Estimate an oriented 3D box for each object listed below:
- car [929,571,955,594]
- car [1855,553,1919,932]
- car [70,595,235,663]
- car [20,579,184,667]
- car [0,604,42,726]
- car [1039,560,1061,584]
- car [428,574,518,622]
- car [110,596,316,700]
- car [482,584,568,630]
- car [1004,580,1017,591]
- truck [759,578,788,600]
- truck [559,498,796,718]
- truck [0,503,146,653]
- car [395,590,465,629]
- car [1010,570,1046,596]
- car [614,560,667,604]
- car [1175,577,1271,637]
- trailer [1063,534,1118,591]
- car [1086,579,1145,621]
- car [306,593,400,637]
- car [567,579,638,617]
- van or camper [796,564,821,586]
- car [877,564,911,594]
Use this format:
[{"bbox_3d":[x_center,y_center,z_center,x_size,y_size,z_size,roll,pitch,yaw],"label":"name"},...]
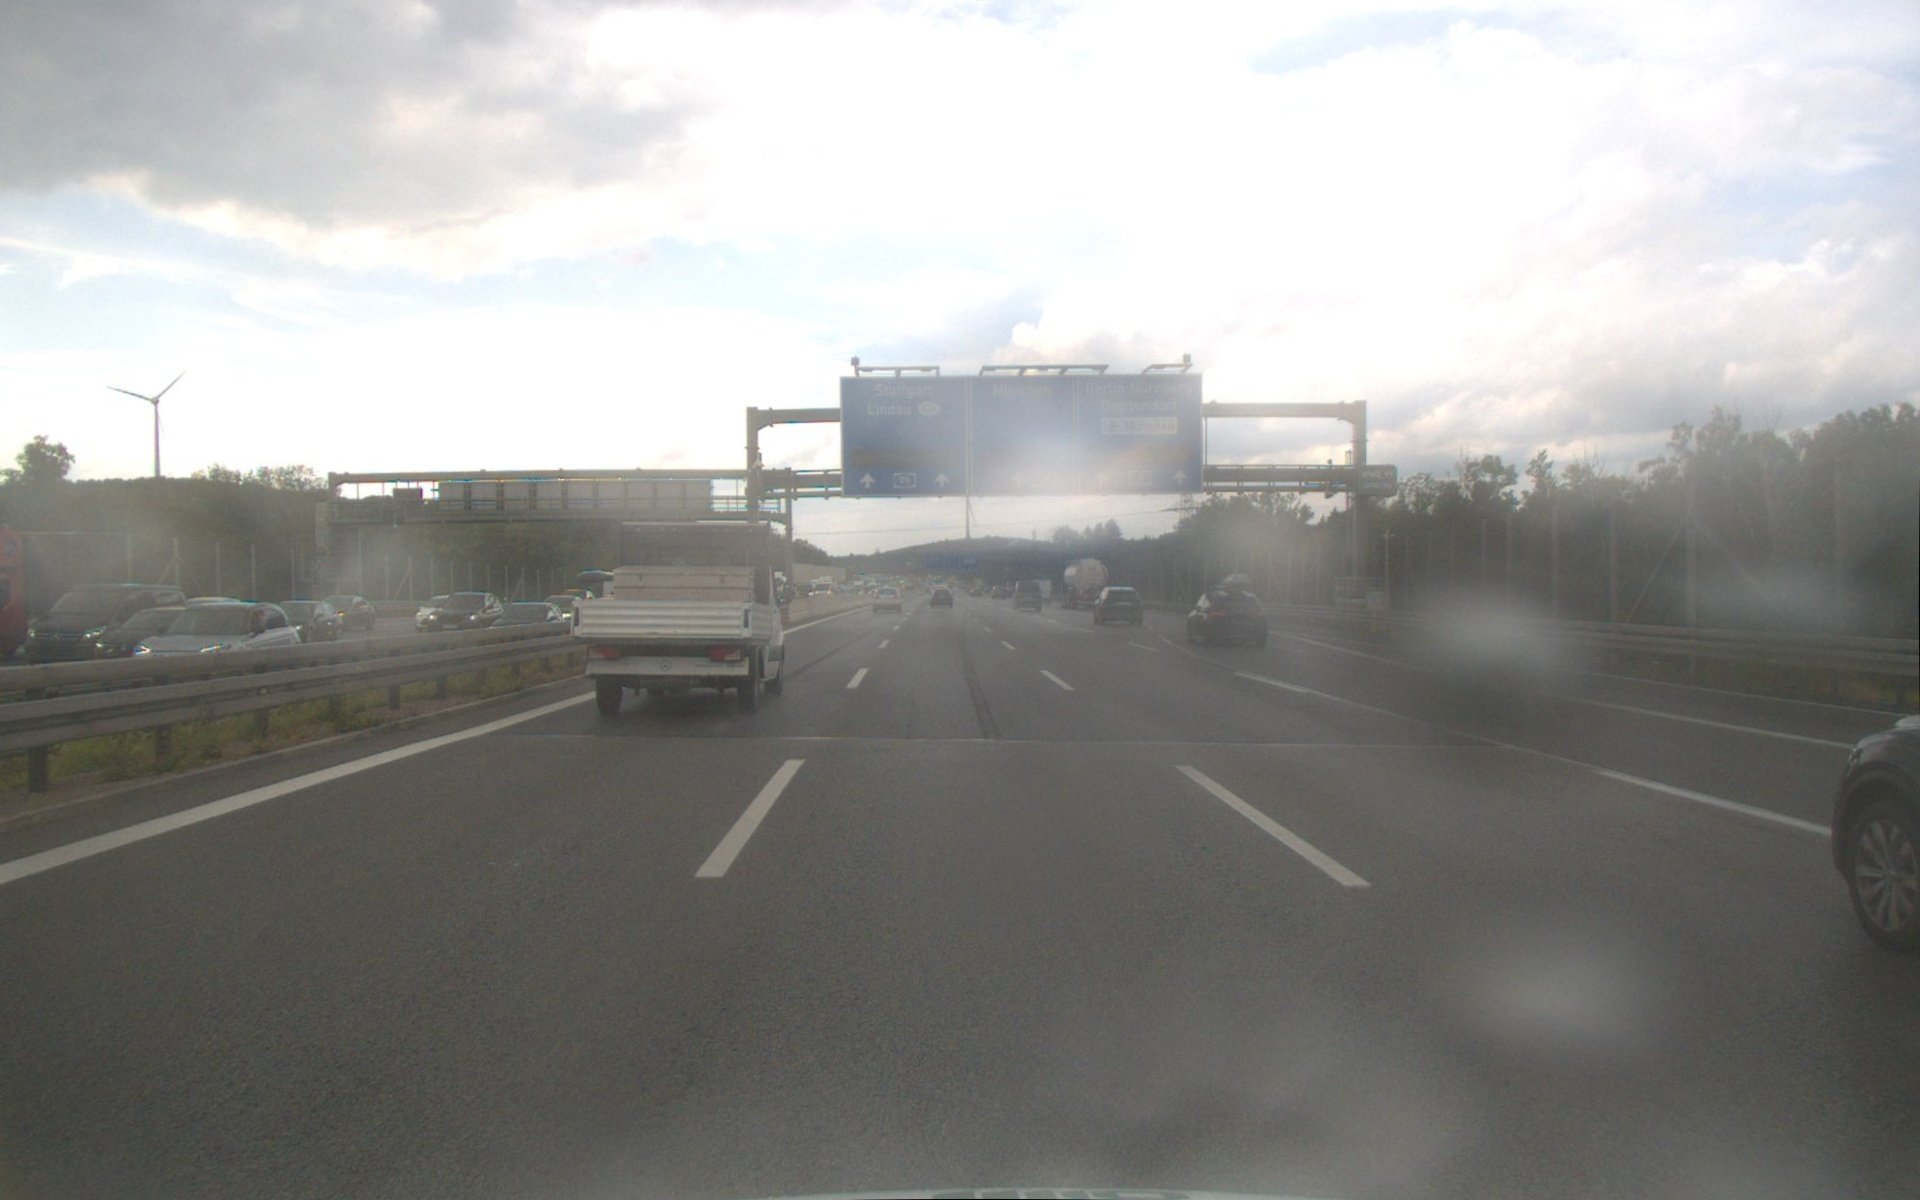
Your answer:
[{"bbox_3d":[-1.386,-1.342,128.232,2.003,1.729,4.000,0,1,-1],"label":"car"},{"bbox_3d":[4.905,0.623,5.575,1.755,1.589,3.722,0,1,0],"label":"car"},{"bbox_3d":[-17.757,0.600,36.585,1.669,1.311,4.186,-1,1,-2],"label":"car"},{"bbox_3d":[-20.739,0.493,40.210,1.551,1.923,4.819,-1,1,-2],"label":"car"},{"bbox_3d":[-12.464,0.822,18.667,1.612,1.465,4.729,0,1,-1],"label":"car"},{"bbox_3d":[9.485,-2.957,173.989,2.003,2.541,4.000,0,1,-1],"label":"car"},{"bbox_3d":[-17.631,-0.114,60.154,1.844,1.626,5.134,-1,1,-2],"label":"car"},{"bbox_3d":[-13.947,0.831,31.210,1.835,1.676,4.721,-1,1,-2],"label":"car"},{"bbox_3d":[-13.621,0.183,51.981,1.669,1.311,4.186,-1,1,-2],"label":"car"},{"bbox_3d":[7.803,-2.247,255.524,2.003,1.729,4.000,0,1,0],"label":"car"},{"bbox_3d":[-15.854,-0.958,140.533,1.953,1.770,4.670,0,1,-1],"label":"truck"},{"bbox_3d":[-3.536,0.007,22.282,2.306,2.450,7.354,1,1,-3],"label":"truck"},{"bbox_3d":[-24.320,-0.609,43.161,2.414,3.598,7.806,-1,1,-2],"label":"truck"},{"bbox_3d":[-22.195,0.370,69.412,1.588,1.472,4.416,-1,1,-2],"label":"car"},{"bbox_3d":[4.639,-1.189,113.250,2.056,1.729,3.997,0,1,-4],"label":"car"},{"bbox_3d":[-19.281,-1.125,100.071,2.158,2.531,6.064,-1,1,-2],"label":"car"},{"bbox_3d":[7.578,0.178,48.137,2.061,1.634,5.066,0,0,1],"label":"car"},{"bbox_3d":[10.227,-2.968,130.765,3.265,4.248,11.837,1,1,-1],"label":"trailer"},{"bbox_3d":[6.774,-0.030,72.425,2.004,1.729,5.006,0,1,-1],"label":"car"},{"bbox_3d":[-20.345,0.465,55.596,1.551,1.304,4.601,-1,1,-2],"label":"car"},{"bbox_3d":[-14.194,-0.101,65.966,1.851,1.363,4.944,-1,1,-2],"label":"car"},{"bbox_3d":[-15.280,-2.554,167.090,2.052,2.224,4.971,0,1,-1],"label":"van or camper"},{"bbox_3d":[-3.978,-1.292,100.201,2.003,1.729,4.000,0,1,-1],"label":"car"}]
